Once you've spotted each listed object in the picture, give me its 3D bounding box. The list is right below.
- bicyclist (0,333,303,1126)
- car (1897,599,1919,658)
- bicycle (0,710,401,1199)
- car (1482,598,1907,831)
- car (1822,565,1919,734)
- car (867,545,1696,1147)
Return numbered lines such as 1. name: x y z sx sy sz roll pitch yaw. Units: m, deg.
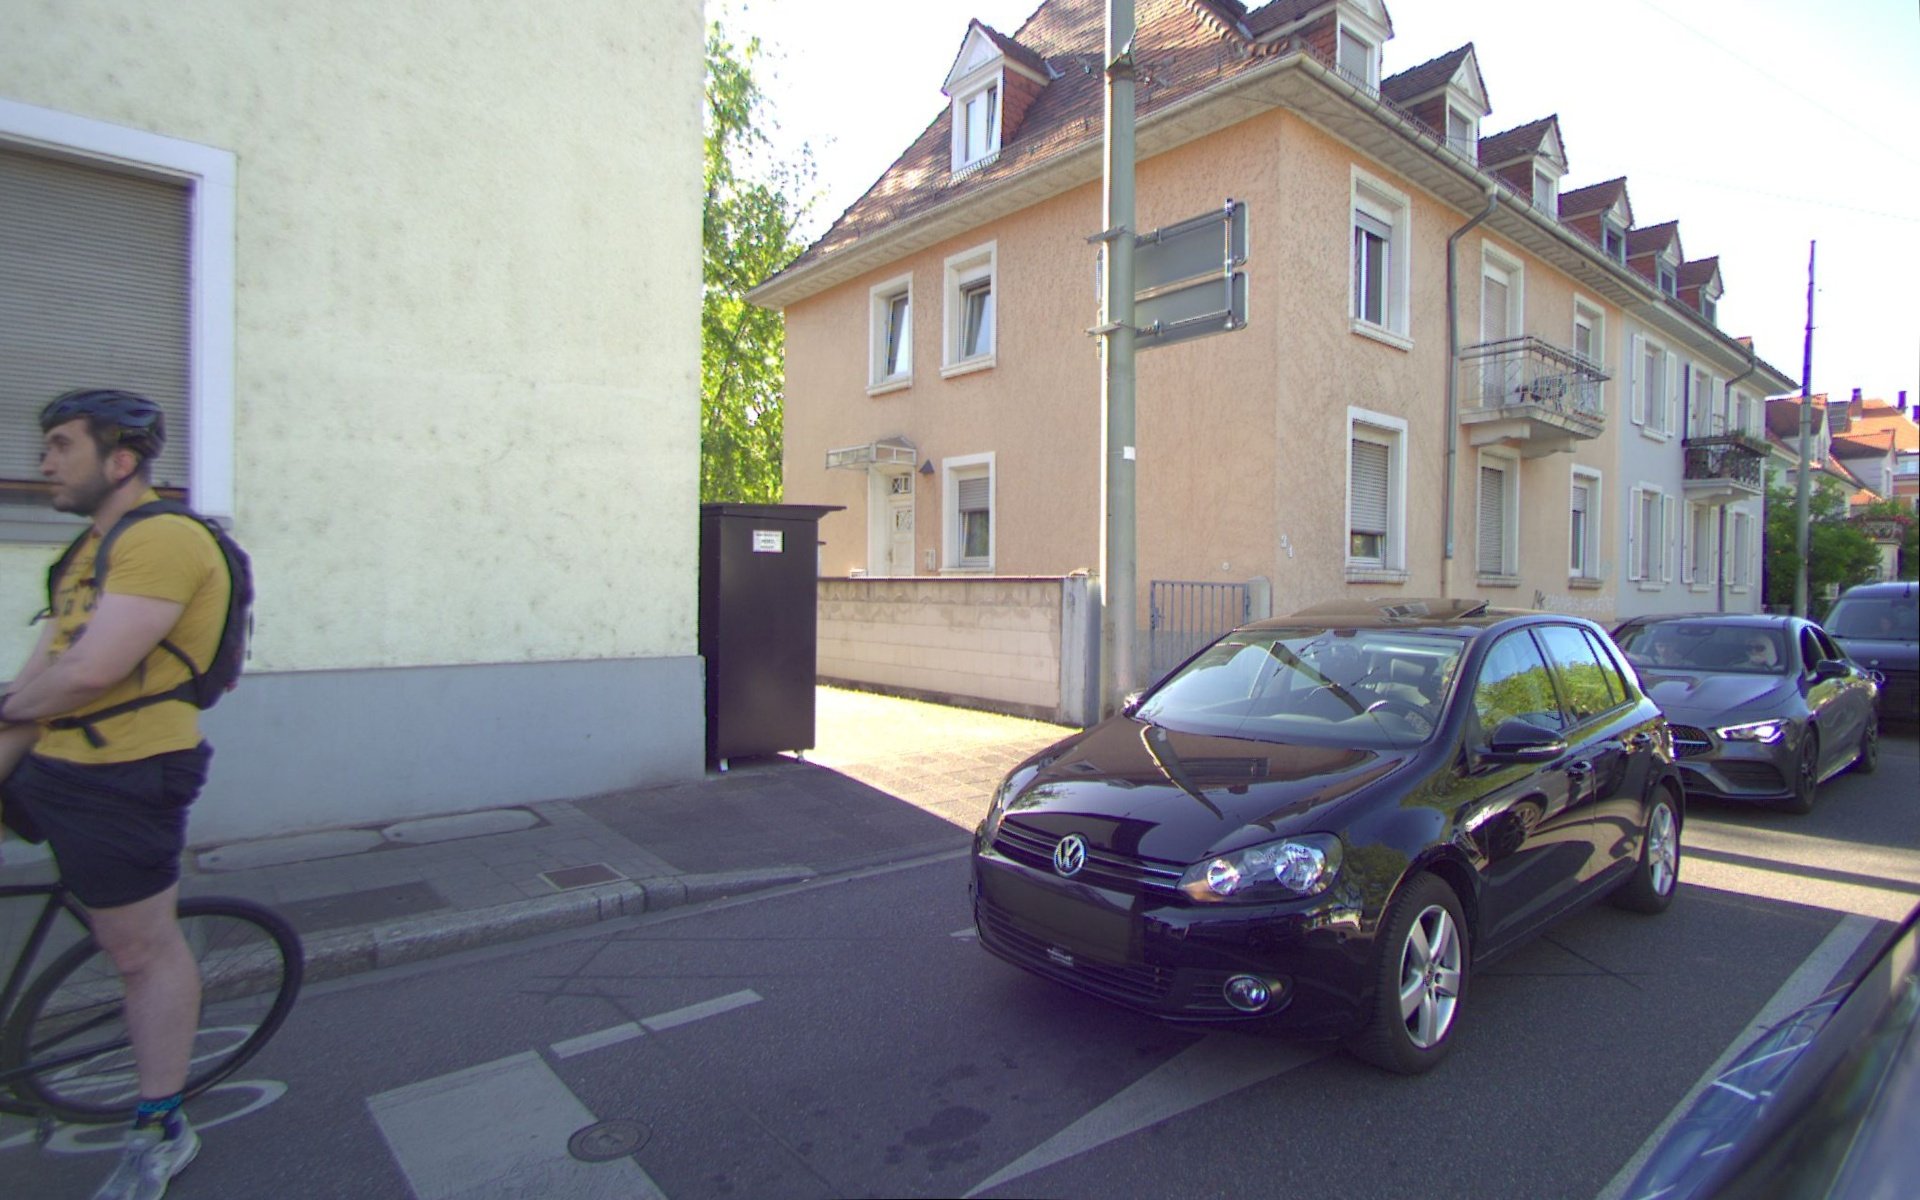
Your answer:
1. bicyclist: -2.213 0.271 2.531 0.868 1.684 0.807 0 0 -40
2. car: 26.478 0.735 26.929 3.930 1.476 1.839 -1 0 -41
3. bicycle: -2.377 0.887 2.388 1.749 1.044 0.756 -1 0 -40
4. car: 6.387 0.729 8.607 4.413 1.437 1.911 -1 0 -40
5. car: 12.204 0.513 12.365 4.695 1.827 1.864 -1 0 -41
6. car: 1.717 0.668 4.548 3.979 1.527 1.731 2 -1 -41
